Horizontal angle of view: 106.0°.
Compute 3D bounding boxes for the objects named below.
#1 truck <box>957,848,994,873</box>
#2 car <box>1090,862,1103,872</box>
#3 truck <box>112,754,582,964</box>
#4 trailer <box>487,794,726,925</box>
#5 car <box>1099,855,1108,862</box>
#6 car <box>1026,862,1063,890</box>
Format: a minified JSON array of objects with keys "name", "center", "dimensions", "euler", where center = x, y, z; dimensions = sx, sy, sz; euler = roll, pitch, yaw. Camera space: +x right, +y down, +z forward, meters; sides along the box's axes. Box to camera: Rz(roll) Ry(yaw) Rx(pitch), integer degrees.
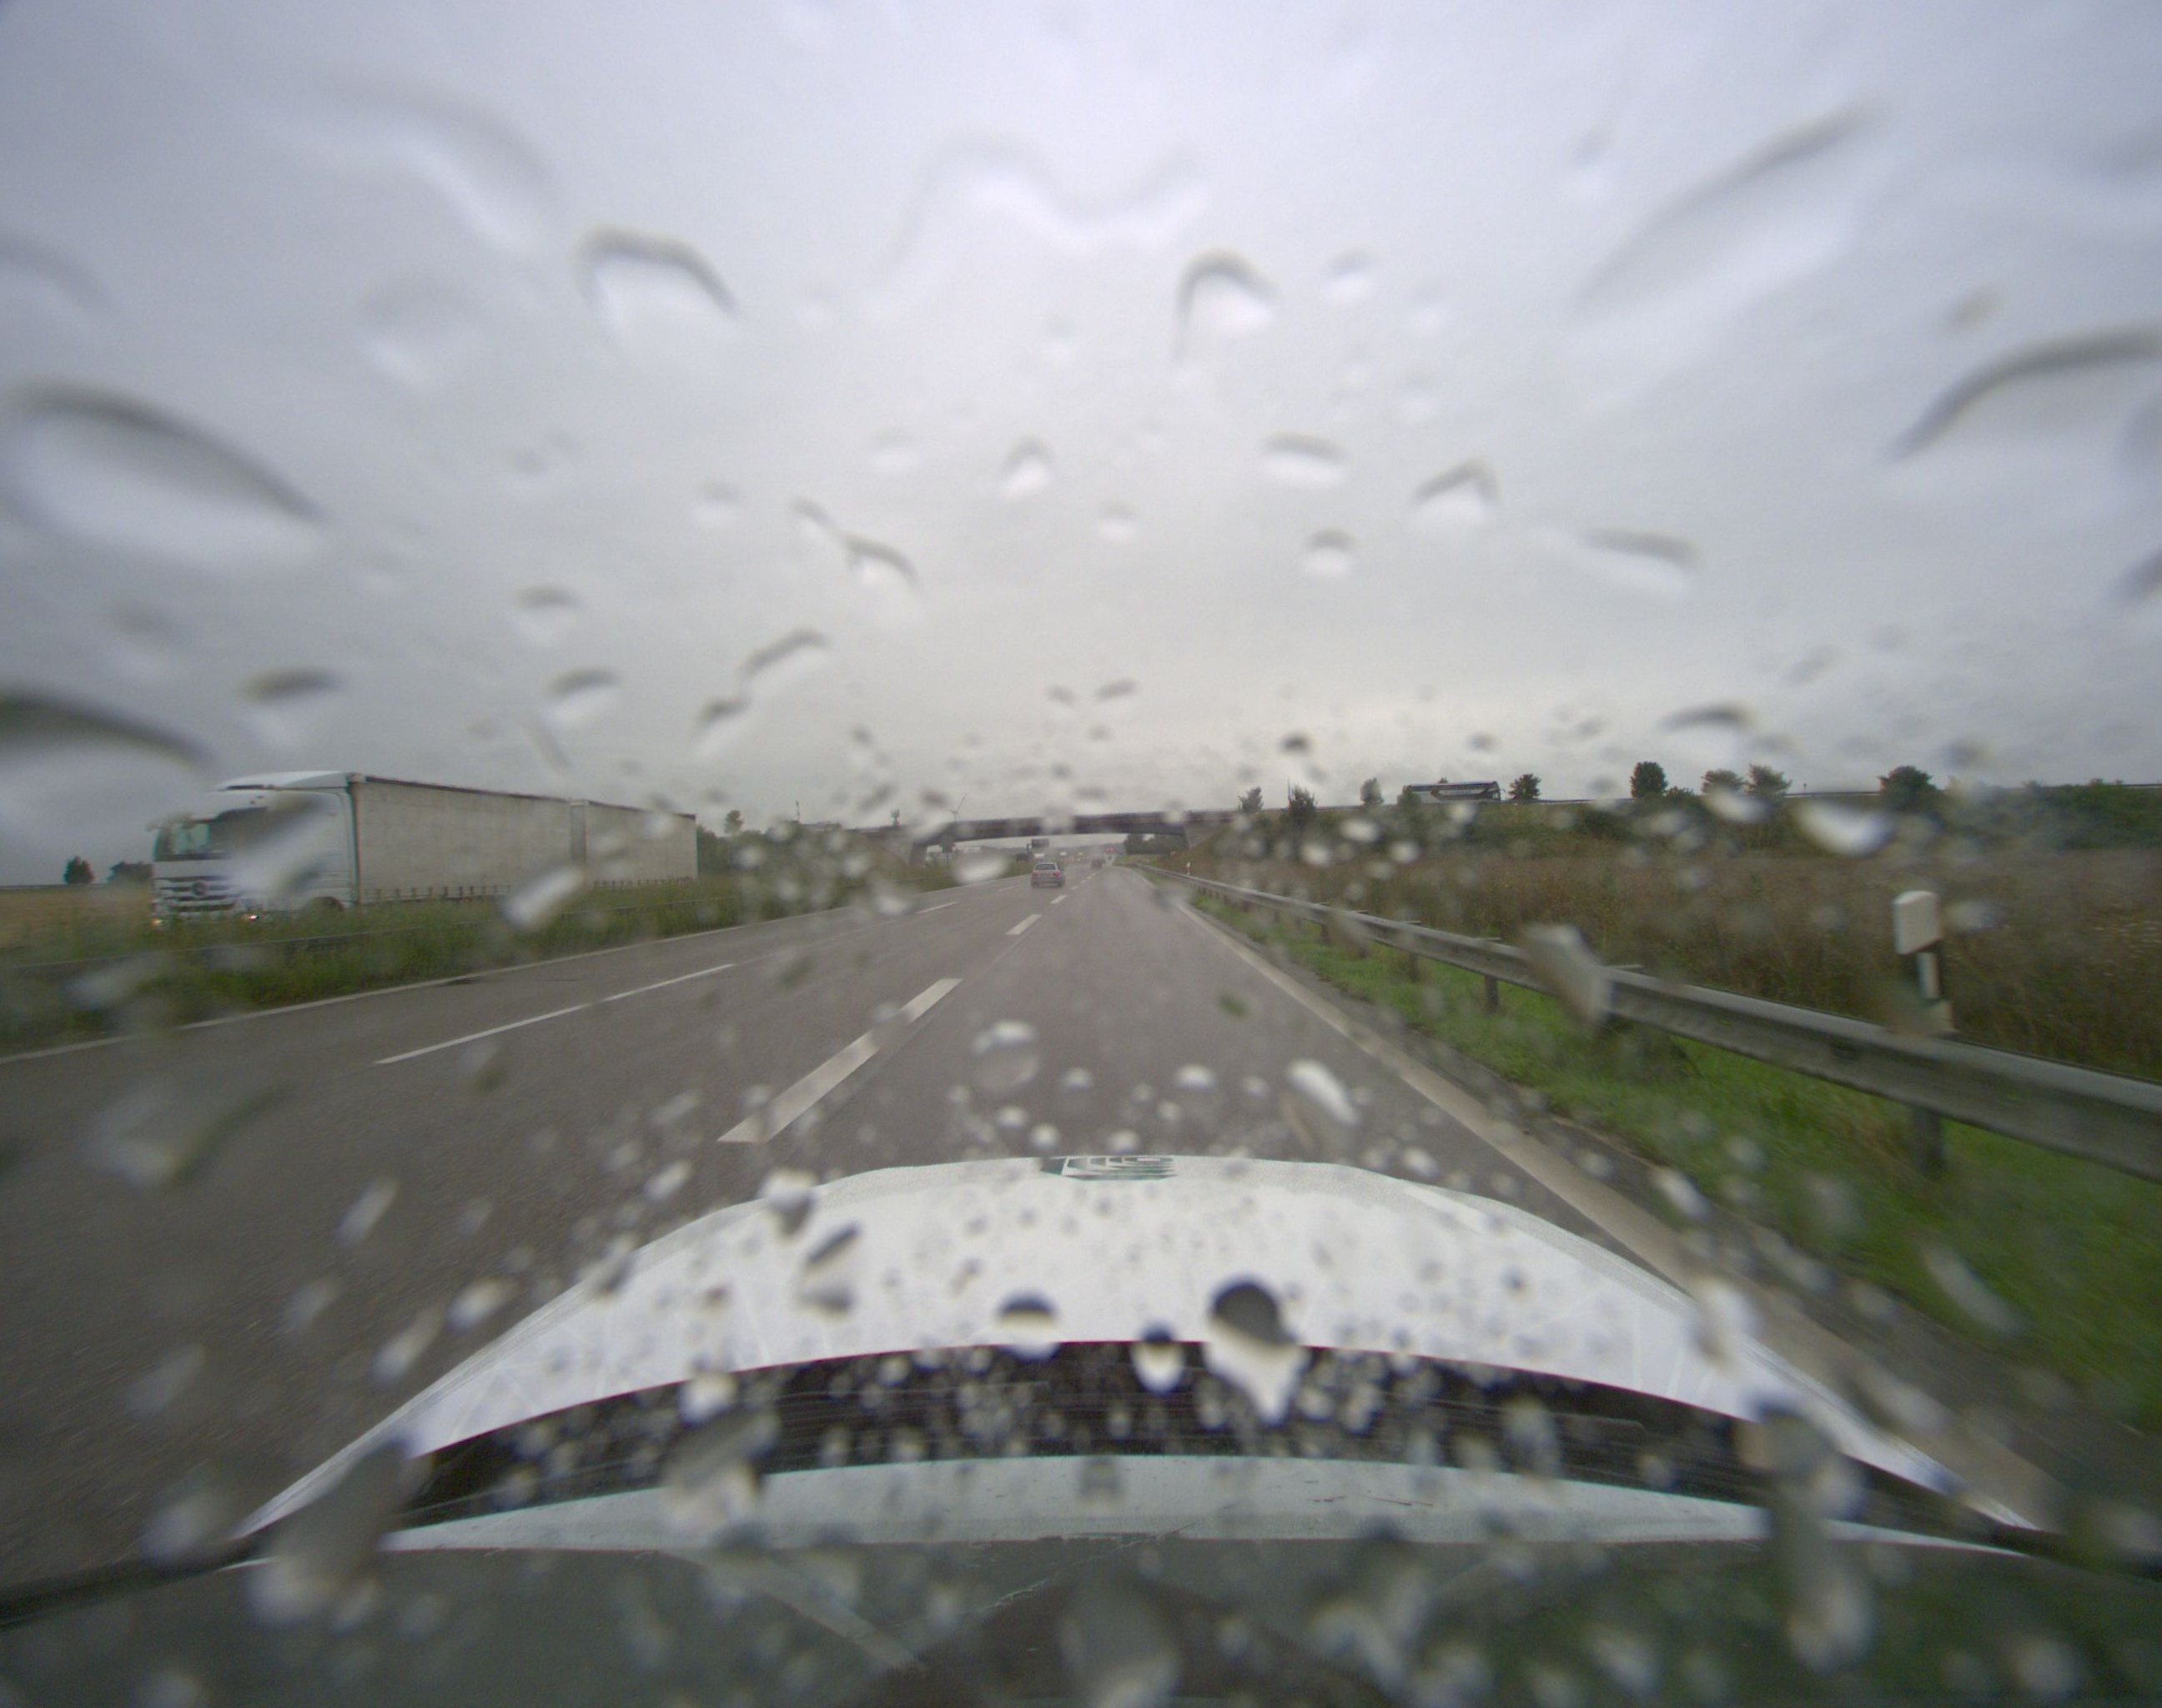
[{"name":"truck","center":[-15.047,0.889,116.873],"dimensions":[2.979,3.376,11.062],"euler":[-2,0,4]},{"name":"car","center":[2.521,2.092,131.549],"dimensions":[2.137,1.636,4.596],"euler":[-1,-1,2]},{"name":"truck","center":[-18.980,0.152,22.718],"dimensions":[3.217,4.385,10.517],"euler":[-2,-1,2]},{"name":"trailer","center":[-18.656,0.234,33.313],"dimensions":[3.217,4.385,10.517],"euler":[-2,-1,2]},{"name":"car","center":[5.830,1.153,210.220],"dimensions":[1.986,1.697,4.002],"euler":[-4,1,2]},{"name":"car","center":[-2.070,1.249,47.603],"dimensions":[1.868,1.488,4.796],"euler":[-2,-1,1]}]
